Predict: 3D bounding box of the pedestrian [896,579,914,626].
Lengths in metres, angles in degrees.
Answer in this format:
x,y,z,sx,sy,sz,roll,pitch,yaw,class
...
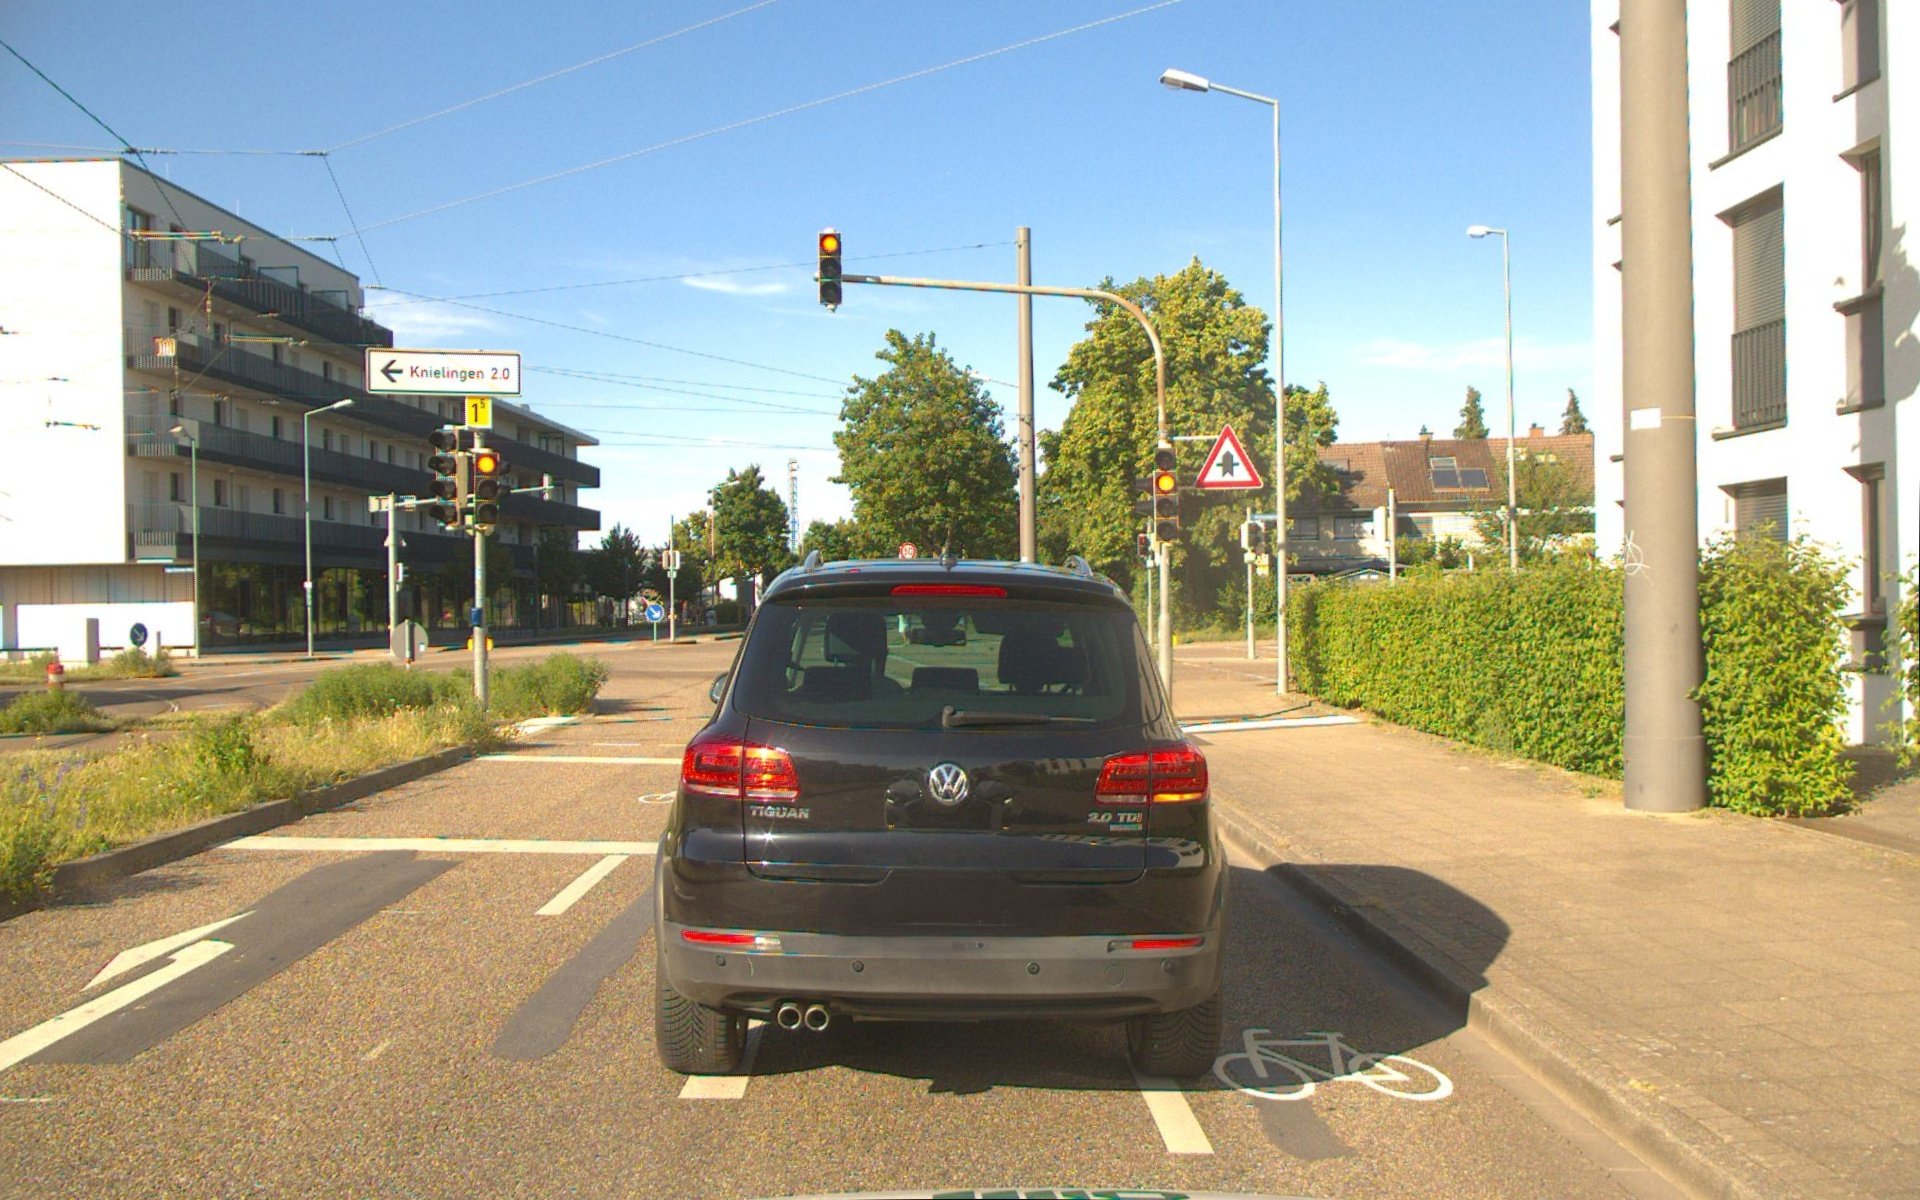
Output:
x,y,z,sx,sy,sz,roll,pitch,yaw,class
-1.971,0.097,59.764,0.590,1.668,0.529,0,0,4,pedestrian

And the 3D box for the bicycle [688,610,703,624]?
x,y,z,sx,sy,sz,roll,pitch,yaw,class
-16.885,1.073,105.694,0.485,0.863,2.079,0,0,3,bicycle

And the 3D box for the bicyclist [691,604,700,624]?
x,y,z,sx,sy,sz,roll,pitch,yaw,class
-16.886,0.893,105.602,0.464,1.245,0.713,0,0,3,bicyclist

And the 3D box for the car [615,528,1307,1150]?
x,y,z,sx,sy,sz,roll,pitch,yaw,class
-0.058,0.641,6.484,1.867,1.671,3.998,0,0,-2,car

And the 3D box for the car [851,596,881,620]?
x,y,z,sx,sy,sz,roll,pitch,yaw,class
-5.673,0.488,99.843,1.716,1.411,3.998,0,0,-2,car

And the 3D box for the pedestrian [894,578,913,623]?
x,y,z,sx,sy,sz,roll,pitch,yaw,class
-2.021,0.016,59.094,0.590,1.592,0.529,0,0,4,pedestrian
